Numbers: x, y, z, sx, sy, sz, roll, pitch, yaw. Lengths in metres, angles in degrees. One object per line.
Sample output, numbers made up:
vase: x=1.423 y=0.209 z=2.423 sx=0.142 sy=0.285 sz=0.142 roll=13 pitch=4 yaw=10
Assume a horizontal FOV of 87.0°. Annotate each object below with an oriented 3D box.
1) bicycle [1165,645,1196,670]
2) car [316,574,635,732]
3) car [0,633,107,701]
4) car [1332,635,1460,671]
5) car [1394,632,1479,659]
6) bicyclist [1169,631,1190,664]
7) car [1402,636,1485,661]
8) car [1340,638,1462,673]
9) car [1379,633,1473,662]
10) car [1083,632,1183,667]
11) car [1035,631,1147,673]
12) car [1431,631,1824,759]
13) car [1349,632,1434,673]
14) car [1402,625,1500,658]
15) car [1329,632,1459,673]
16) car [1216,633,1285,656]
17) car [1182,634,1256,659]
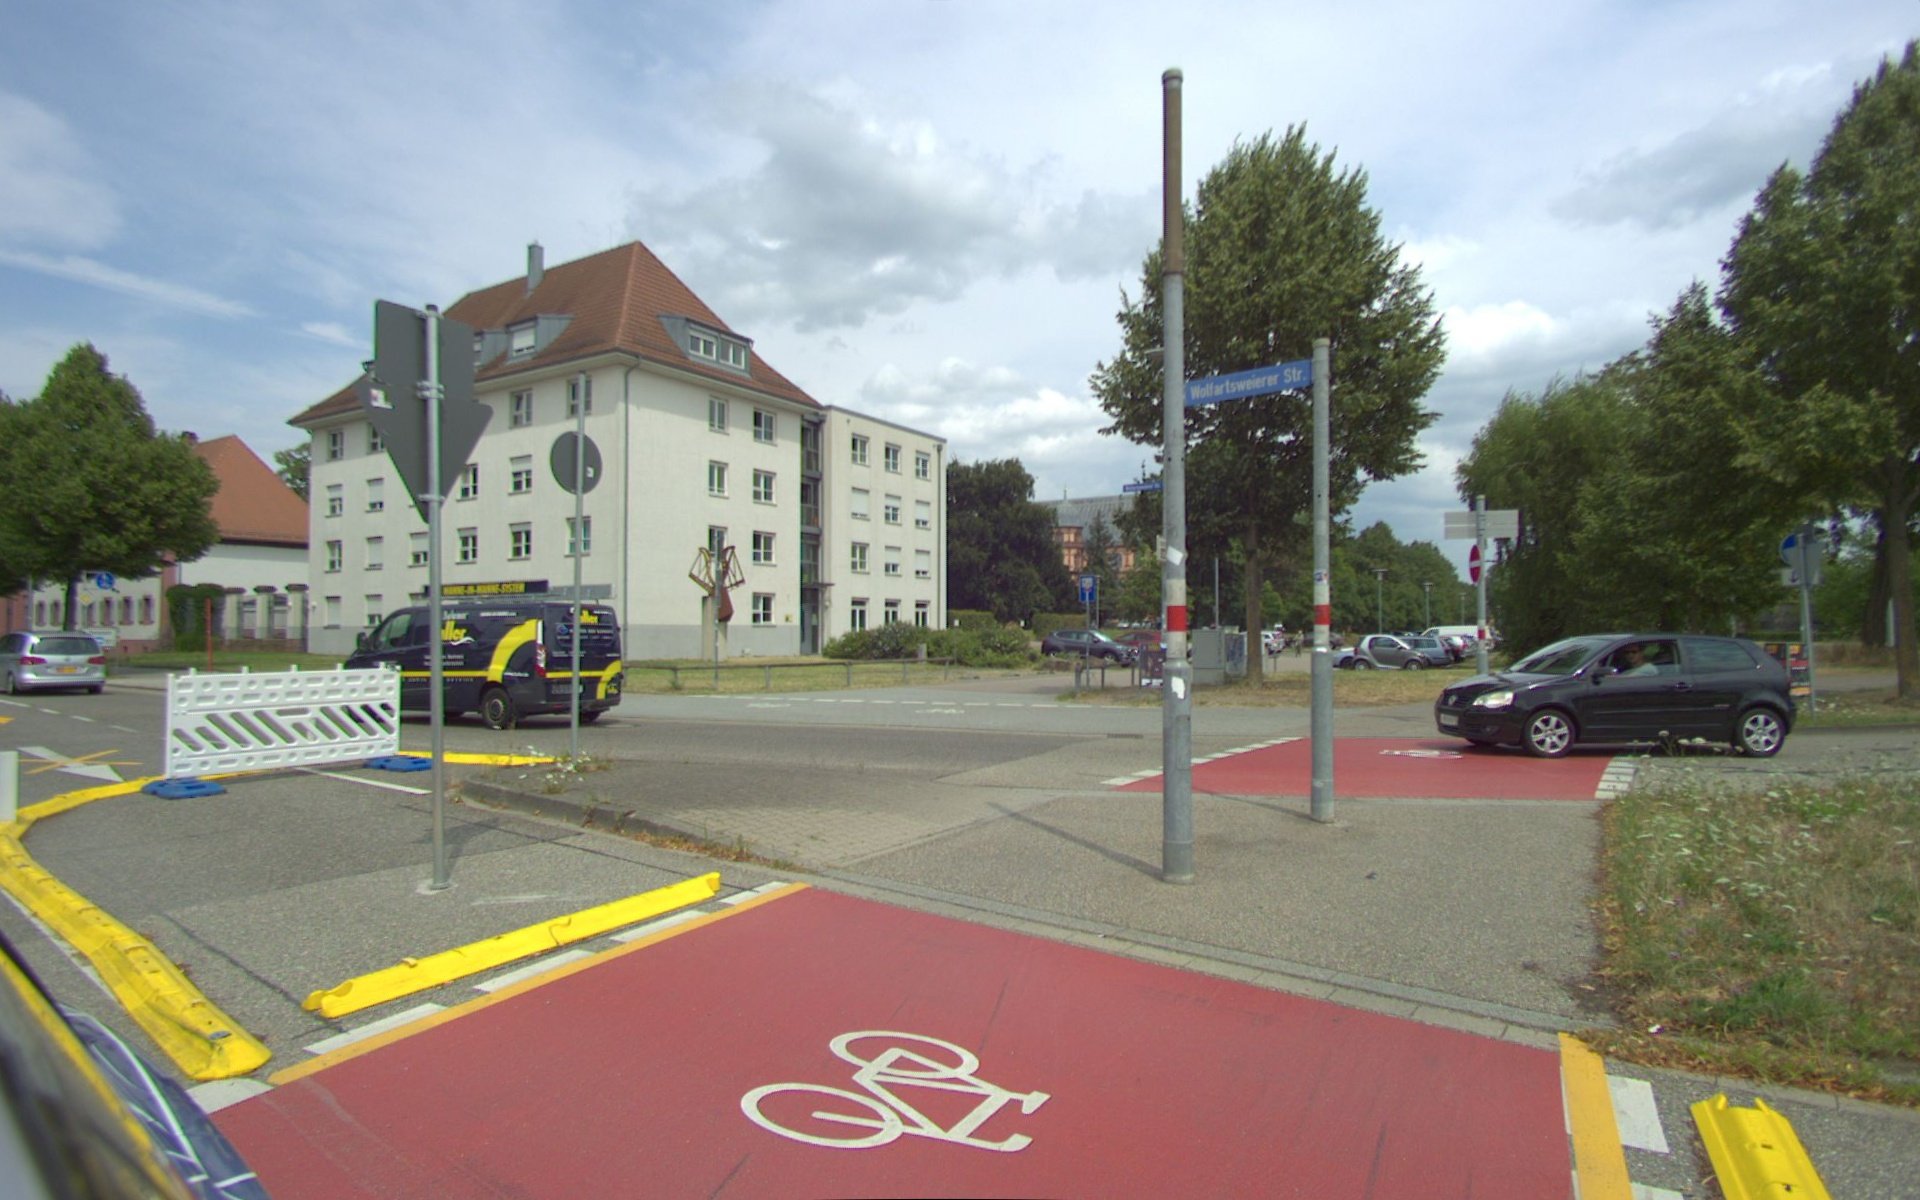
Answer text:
bicycle: x=9.850 y=2.562 z=45.175 sx=0.601 sy=1.054 sz=1.805 roll=-2 pitch=-3 yaw=39
car: x=-8.039 y=0.854 z=16.739 sx=5.131 sy=2.290 sz=1.983 roll=-1 pitch=-2 yaw=25
car: x=-24.403 y=1.716 z=26.661 sx=4.736 sy=1.635 sz=1.781 roll=-2 pitch=-2 yaw=35
car: x=18.988 y=2.267 z=44.151 sx=4.873 sy=1.482 sz=1.813 roll=-1 pitch=-2 yaw=33
car: x=27.734 y=2.637 z=58.907 sx=4.298 sy=1.482 sz=1.813 roll=-1 pitch=-2 yaw=33
bicyclist: x=9.773 y=2.122 z=45.104 sx=0.601 sy=1.434 sz=0.793 roll=-2 pitch=-3 yaw=39
car: x=29.155 y=2.900 z=61.075 sx=4.298 sy=1.482 sz=1.813 roll=-1 pitch=-2 yaw=33
car: x=20.112 y=2.499 z=46.245 sx=4.873 sy=1.482 sz=1.813 roll=-1 pitch=-2 yaw=33
car: x=25.075 y=2.555 z=54.492 sx=4.373 sy=1.482 sz=1.813 roll=-1 pitch=-2 yaw=33
car: x=8.399 y=2.384 z=49.269 sx=4.394 sy=1.610 sz=1.977 roll=-2 pitch=-2 yaw=33
car: x=5.746 y=2.261 z=44.513 sx=4.484 sy=1.778 sz=1.979 roll=-1 pitch=-2 yaw=31
car: x=7.936 y=1.110 z=12.255 sx=3.666 sy=1.426 sz=1.633 roll=0 pitch=-3 yaw=-4
car: x=16.775 y=2.051 z=39.349 sx=2.900 sy=1.434 sz=1.471 roll=-4 pitch=-4 yaw=26
car: x=31.690 y=2.648 z=65.399 sx=5.548 sy=2.072 sz=2.178 roll=-1 pitch=-2 yaw=30
car: x=17.831 y=2.164 z=41.647 sx=4.687 sy=1.482 sz=1.815 roll=-4 pitch=-3 yaw=30
car: x=19.043 y=2.901 z=66.388 sx=3.993 sy=1.479 sz=1.798 roll=-1 pitch=-2 yaw=31
car: x=15.617 y=2.785 z=61.010 sx=3.993 sy=1.479 sz=1.798 roll=-1 pitch=-2 yaw=31
